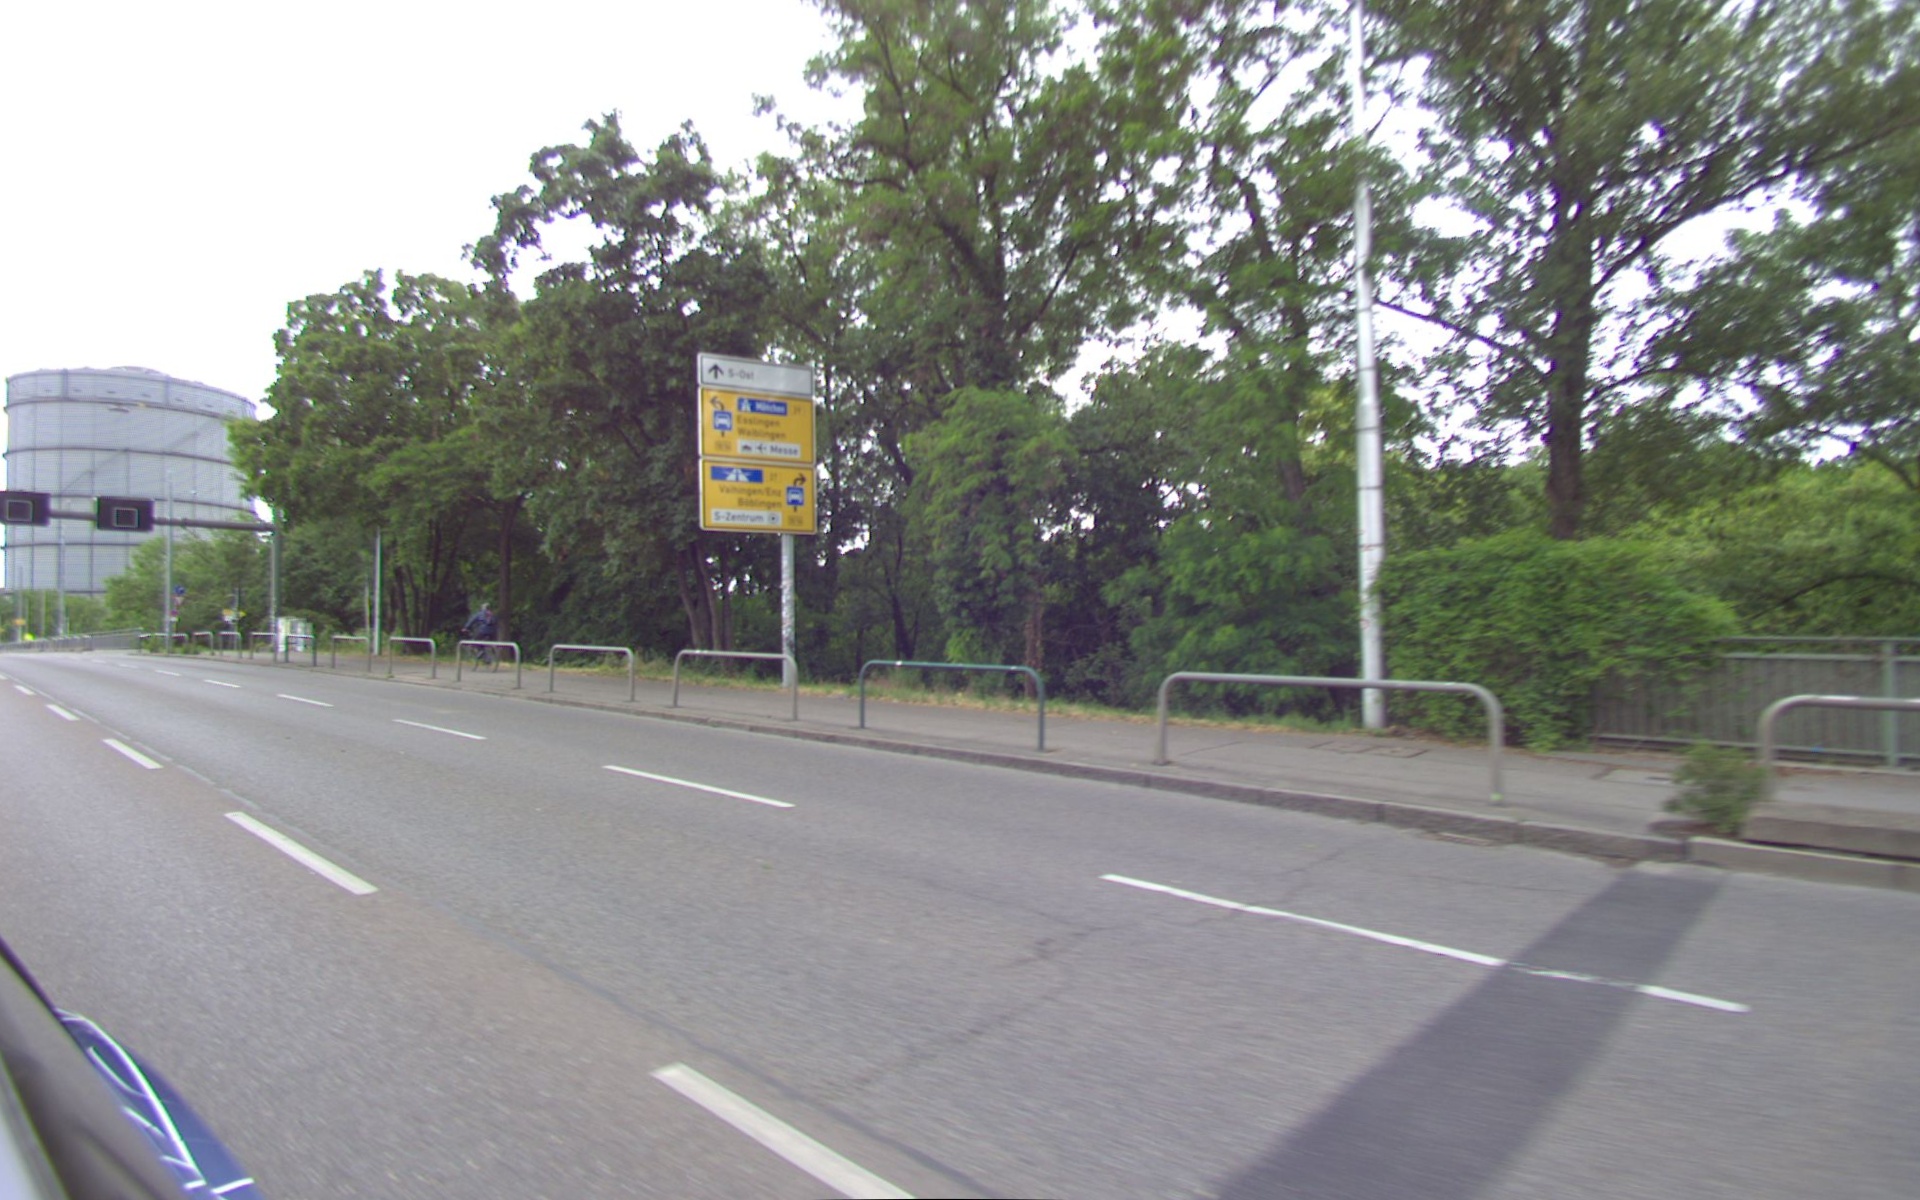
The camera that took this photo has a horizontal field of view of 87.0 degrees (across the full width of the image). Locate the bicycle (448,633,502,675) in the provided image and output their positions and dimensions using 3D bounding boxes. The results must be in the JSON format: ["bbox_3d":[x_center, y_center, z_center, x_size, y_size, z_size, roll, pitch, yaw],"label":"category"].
[{"bbox_3d":[-12.117,1.324,25.265,2.001,1.009,0.479,-2,-3,42],"label":"bicycle"}]

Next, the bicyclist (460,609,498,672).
[{"bbox_3d":[-11.933,1.008,25.116,0.984,1.528,0.509,-2,-3,42],"label":"bicyclist"}]
